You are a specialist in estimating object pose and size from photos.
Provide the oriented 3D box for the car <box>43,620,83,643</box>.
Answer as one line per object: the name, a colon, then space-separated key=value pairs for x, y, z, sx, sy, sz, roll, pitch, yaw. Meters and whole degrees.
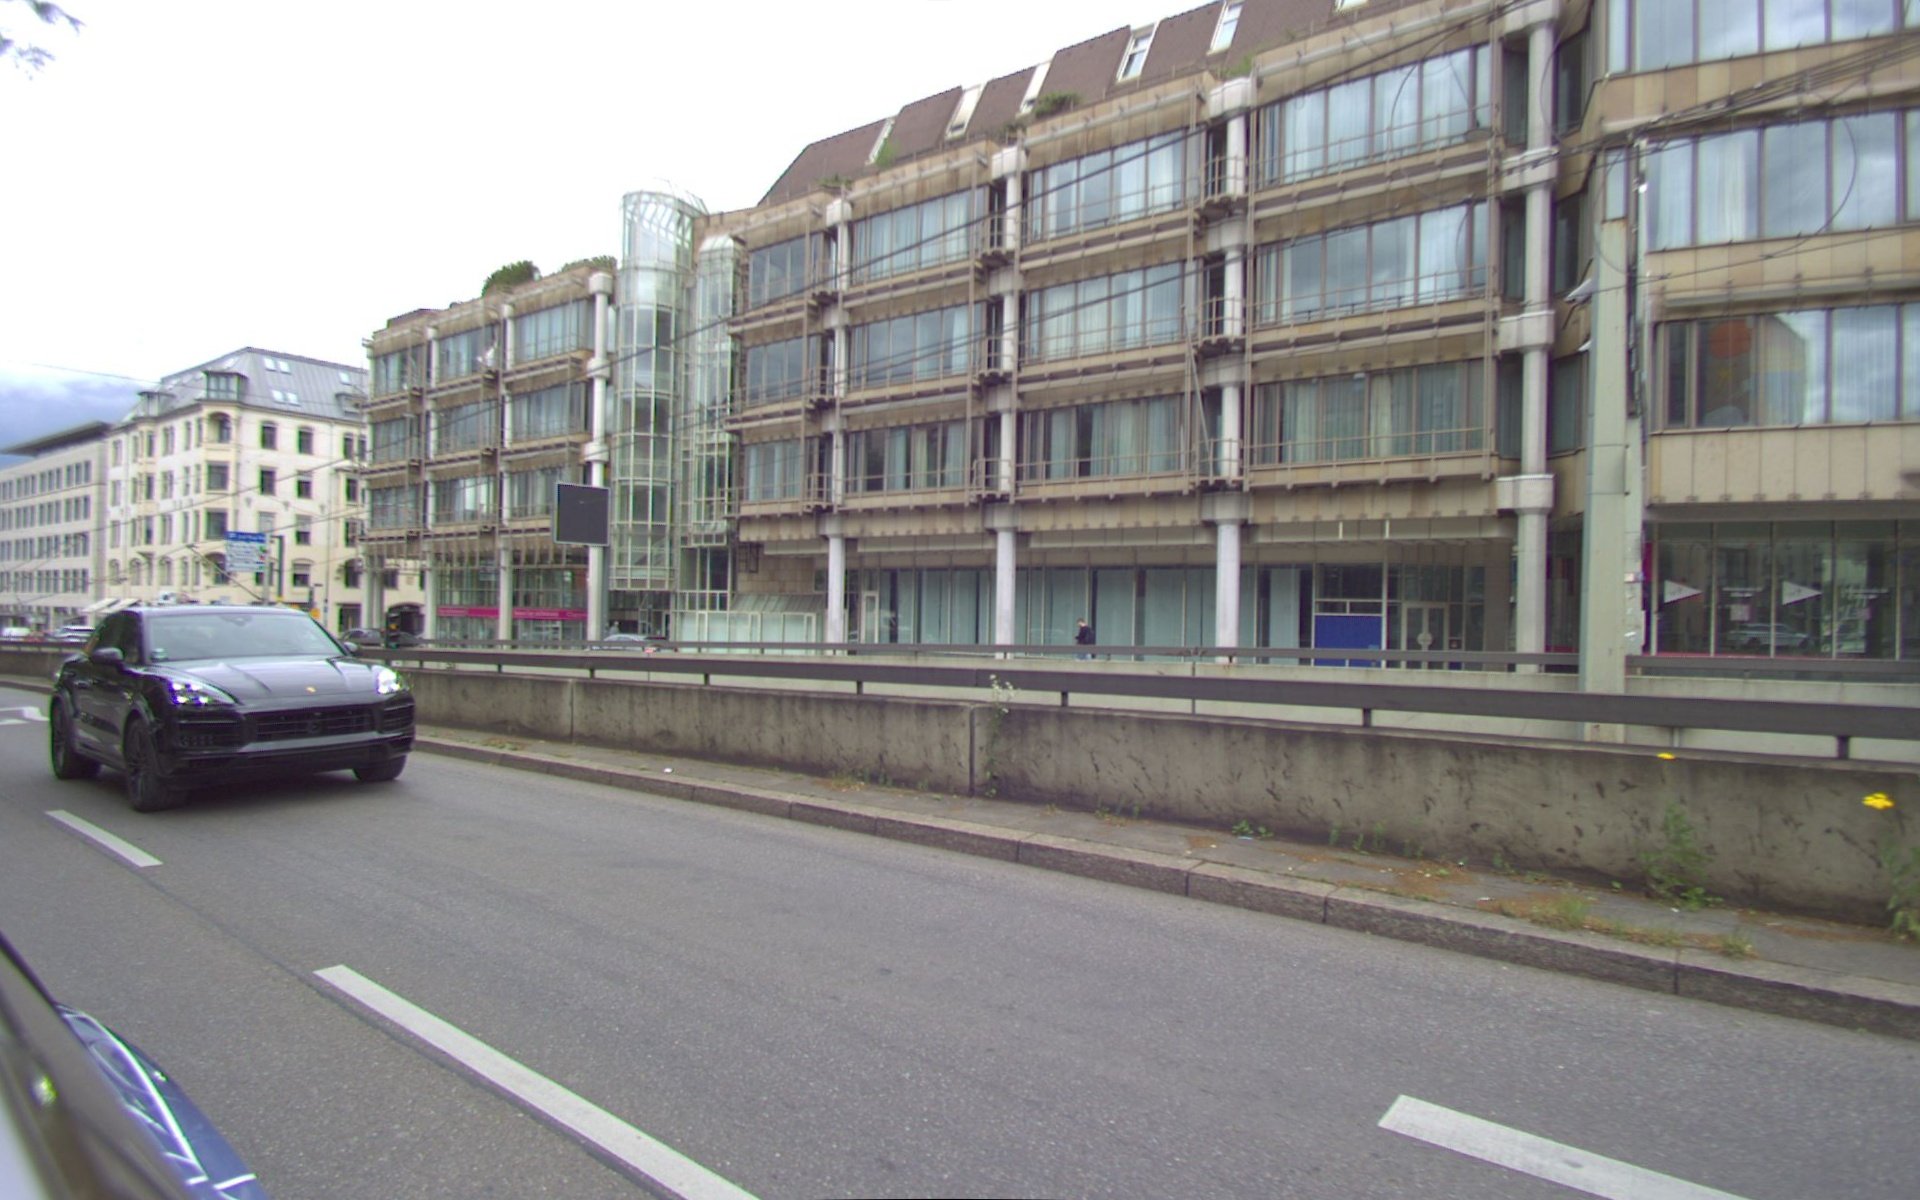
car: x=-83.235 y=2.931 z=93.942 sx=3.992 sy=2.029 sz=1.975 roll=-2 pitch=-3 yaw=36

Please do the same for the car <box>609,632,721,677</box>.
car: x=-10.662 y=1.916 z=36.421 sx=4.407 sy=1.512 sz=1.648 roll=-2 pitch=-2 yaw=39

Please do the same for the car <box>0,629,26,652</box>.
car: x=-86.273 y=3.644 z=91.406 sx=4.781 sy=2.029 sz=1.975 roll=-1 pitch=-1 yaw=37

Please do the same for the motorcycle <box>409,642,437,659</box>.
motorcycle: x=-35.203 y=3.311 z=66.336 sx=1.658 sy=1.083 sz=0.641 roll=-1 pitch=-1 yaw=17

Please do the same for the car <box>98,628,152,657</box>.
car: x=-59.349 y=3.002 z=71.884 sx=4.371 sy=1.929 sz=1.975 roll=0 pitch=0 yaw=37

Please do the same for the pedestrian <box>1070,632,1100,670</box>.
pedestrian: x=4.292 y=1.734 z=34.692 sx=0.739 sy=1.275 sz=0.724 roll=-1 pitch=-1 yaw=37

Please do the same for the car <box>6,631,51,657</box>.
car: x=-79.393 y=3.716 z=86.250 sx=4.781 sy=2.029 sz=1.975 roll=-1 pitch=-1 yaw=37

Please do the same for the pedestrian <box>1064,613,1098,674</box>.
pedestrian: x=3.698 y=1.329 z=30.919 sx=0.739 sy=1.825 sz=0.723 roll=-1 pitch=-1 yaw=37

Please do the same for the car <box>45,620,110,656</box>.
car: x=-50.490 y=2.127 z=57.879 sx=4.597 sy=1.856 sz=1.817 roll=-1 pitch=2 yaw=37

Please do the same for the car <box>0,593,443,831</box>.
car: x=-7.281 y=0.867 z=9.631 sx=5.342 sy=1.688 sz=2.064 roll=-2 pitch=-2 yaw=36

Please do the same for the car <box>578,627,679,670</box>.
car: x=-12.354 y=1.764 z=37.655 sx=4.038 sy=1.512 sz=1.648 roll=-2 pitch=-2 yaw=38
